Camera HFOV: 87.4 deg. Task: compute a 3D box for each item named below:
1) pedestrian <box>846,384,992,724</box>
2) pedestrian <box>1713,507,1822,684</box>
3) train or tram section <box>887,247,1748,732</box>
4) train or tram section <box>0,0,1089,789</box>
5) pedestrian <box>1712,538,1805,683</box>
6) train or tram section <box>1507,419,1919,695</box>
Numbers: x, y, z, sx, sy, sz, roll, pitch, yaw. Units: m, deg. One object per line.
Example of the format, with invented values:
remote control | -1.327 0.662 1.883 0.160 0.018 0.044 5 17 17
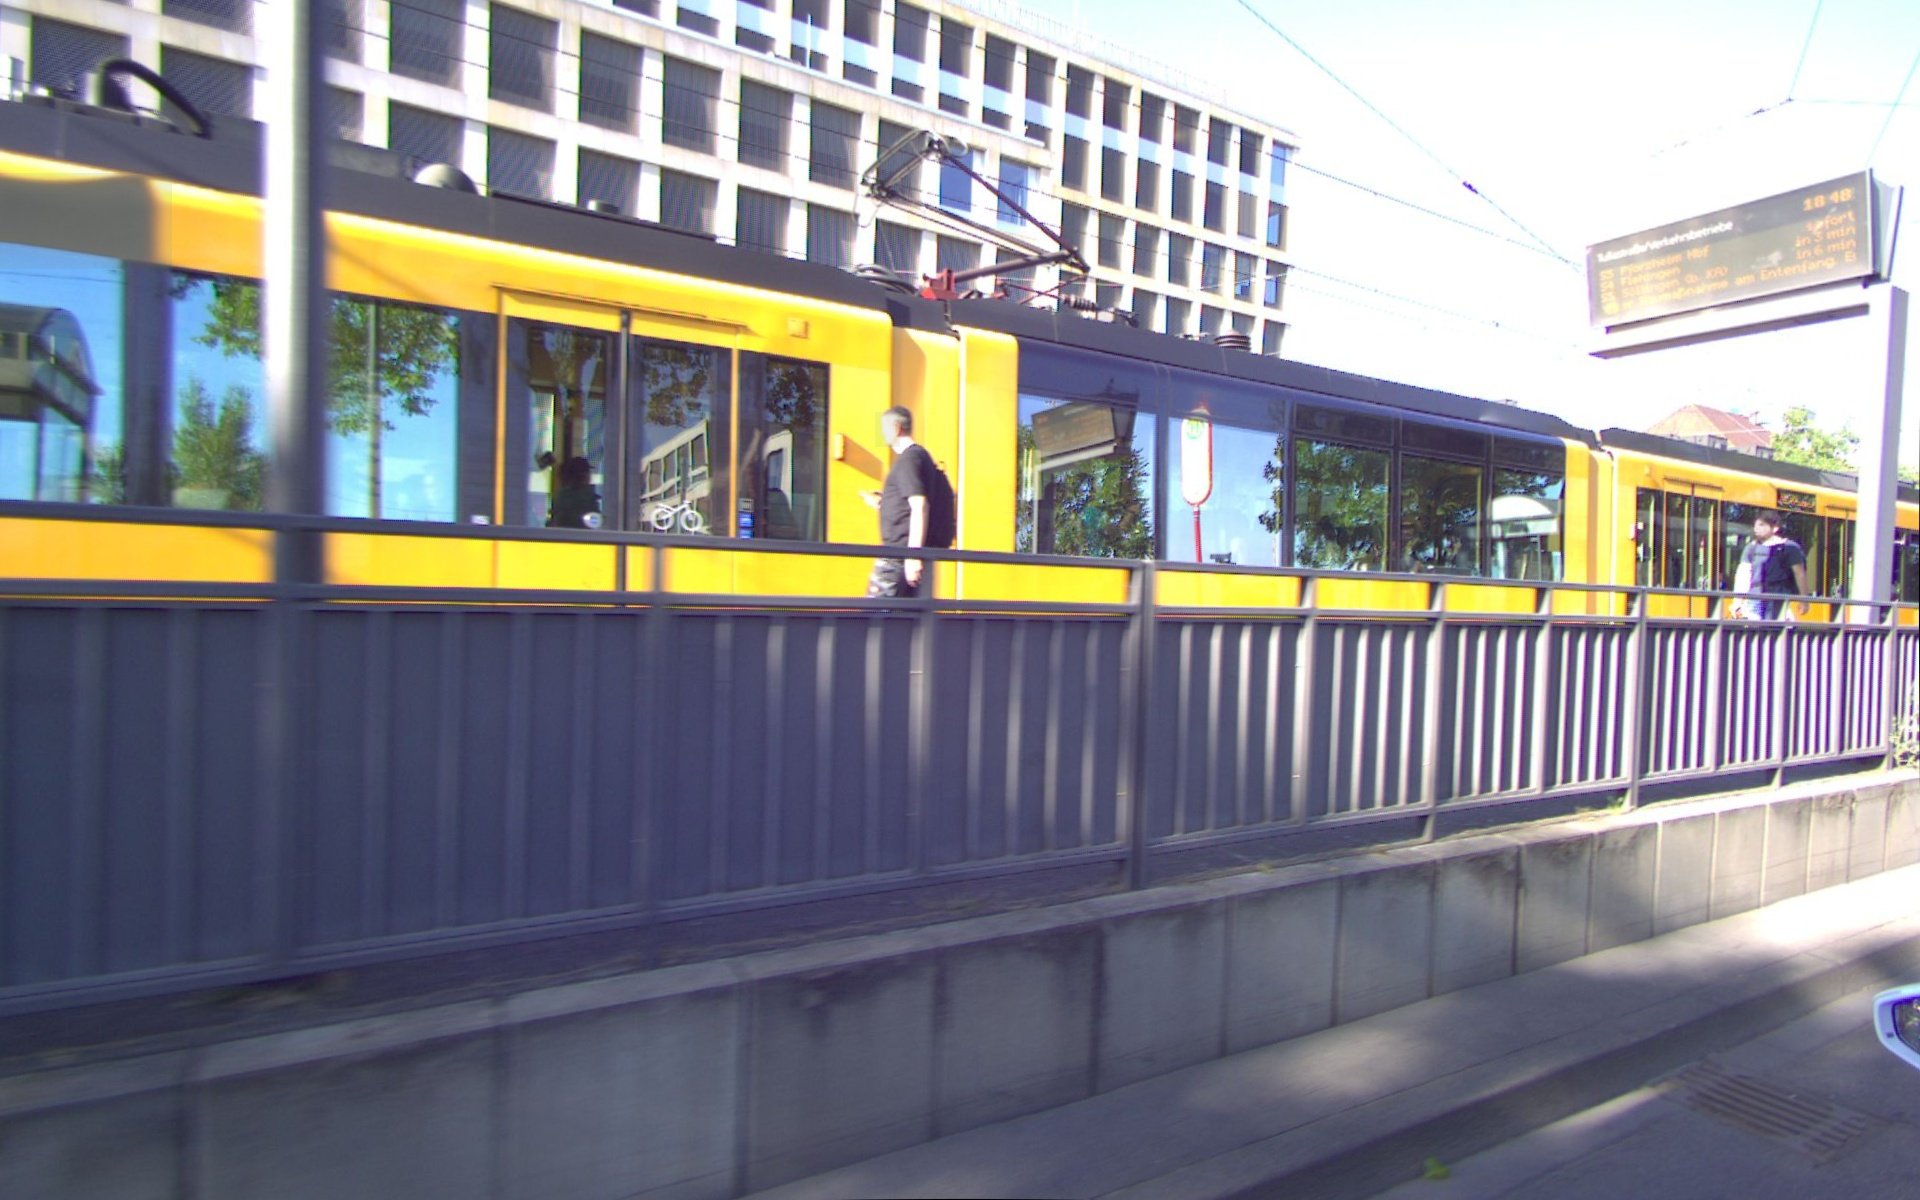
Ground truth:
pedestrian | -0.257 -0.262 6.102 0.637 1.930 0.550 1 2 -30
pedestrian | 8.266 -0.051 10.289 0.652 1.736 0.608 1 2 -32
train or tram section | 5.107 -0.806 12.507 11.707 3.881 3.292 2 2 -31
train or tram section | -5.883 -1.114 5.874 14.055 3.881 3.292 2 2 -31
pedestrian | 9.920 0.125 12.481 0.606 1.736 0.654 1 2 -30
train or tram section | 15.186 -0.530 18.581 11.707 3.881 3.292 2 2 -31
